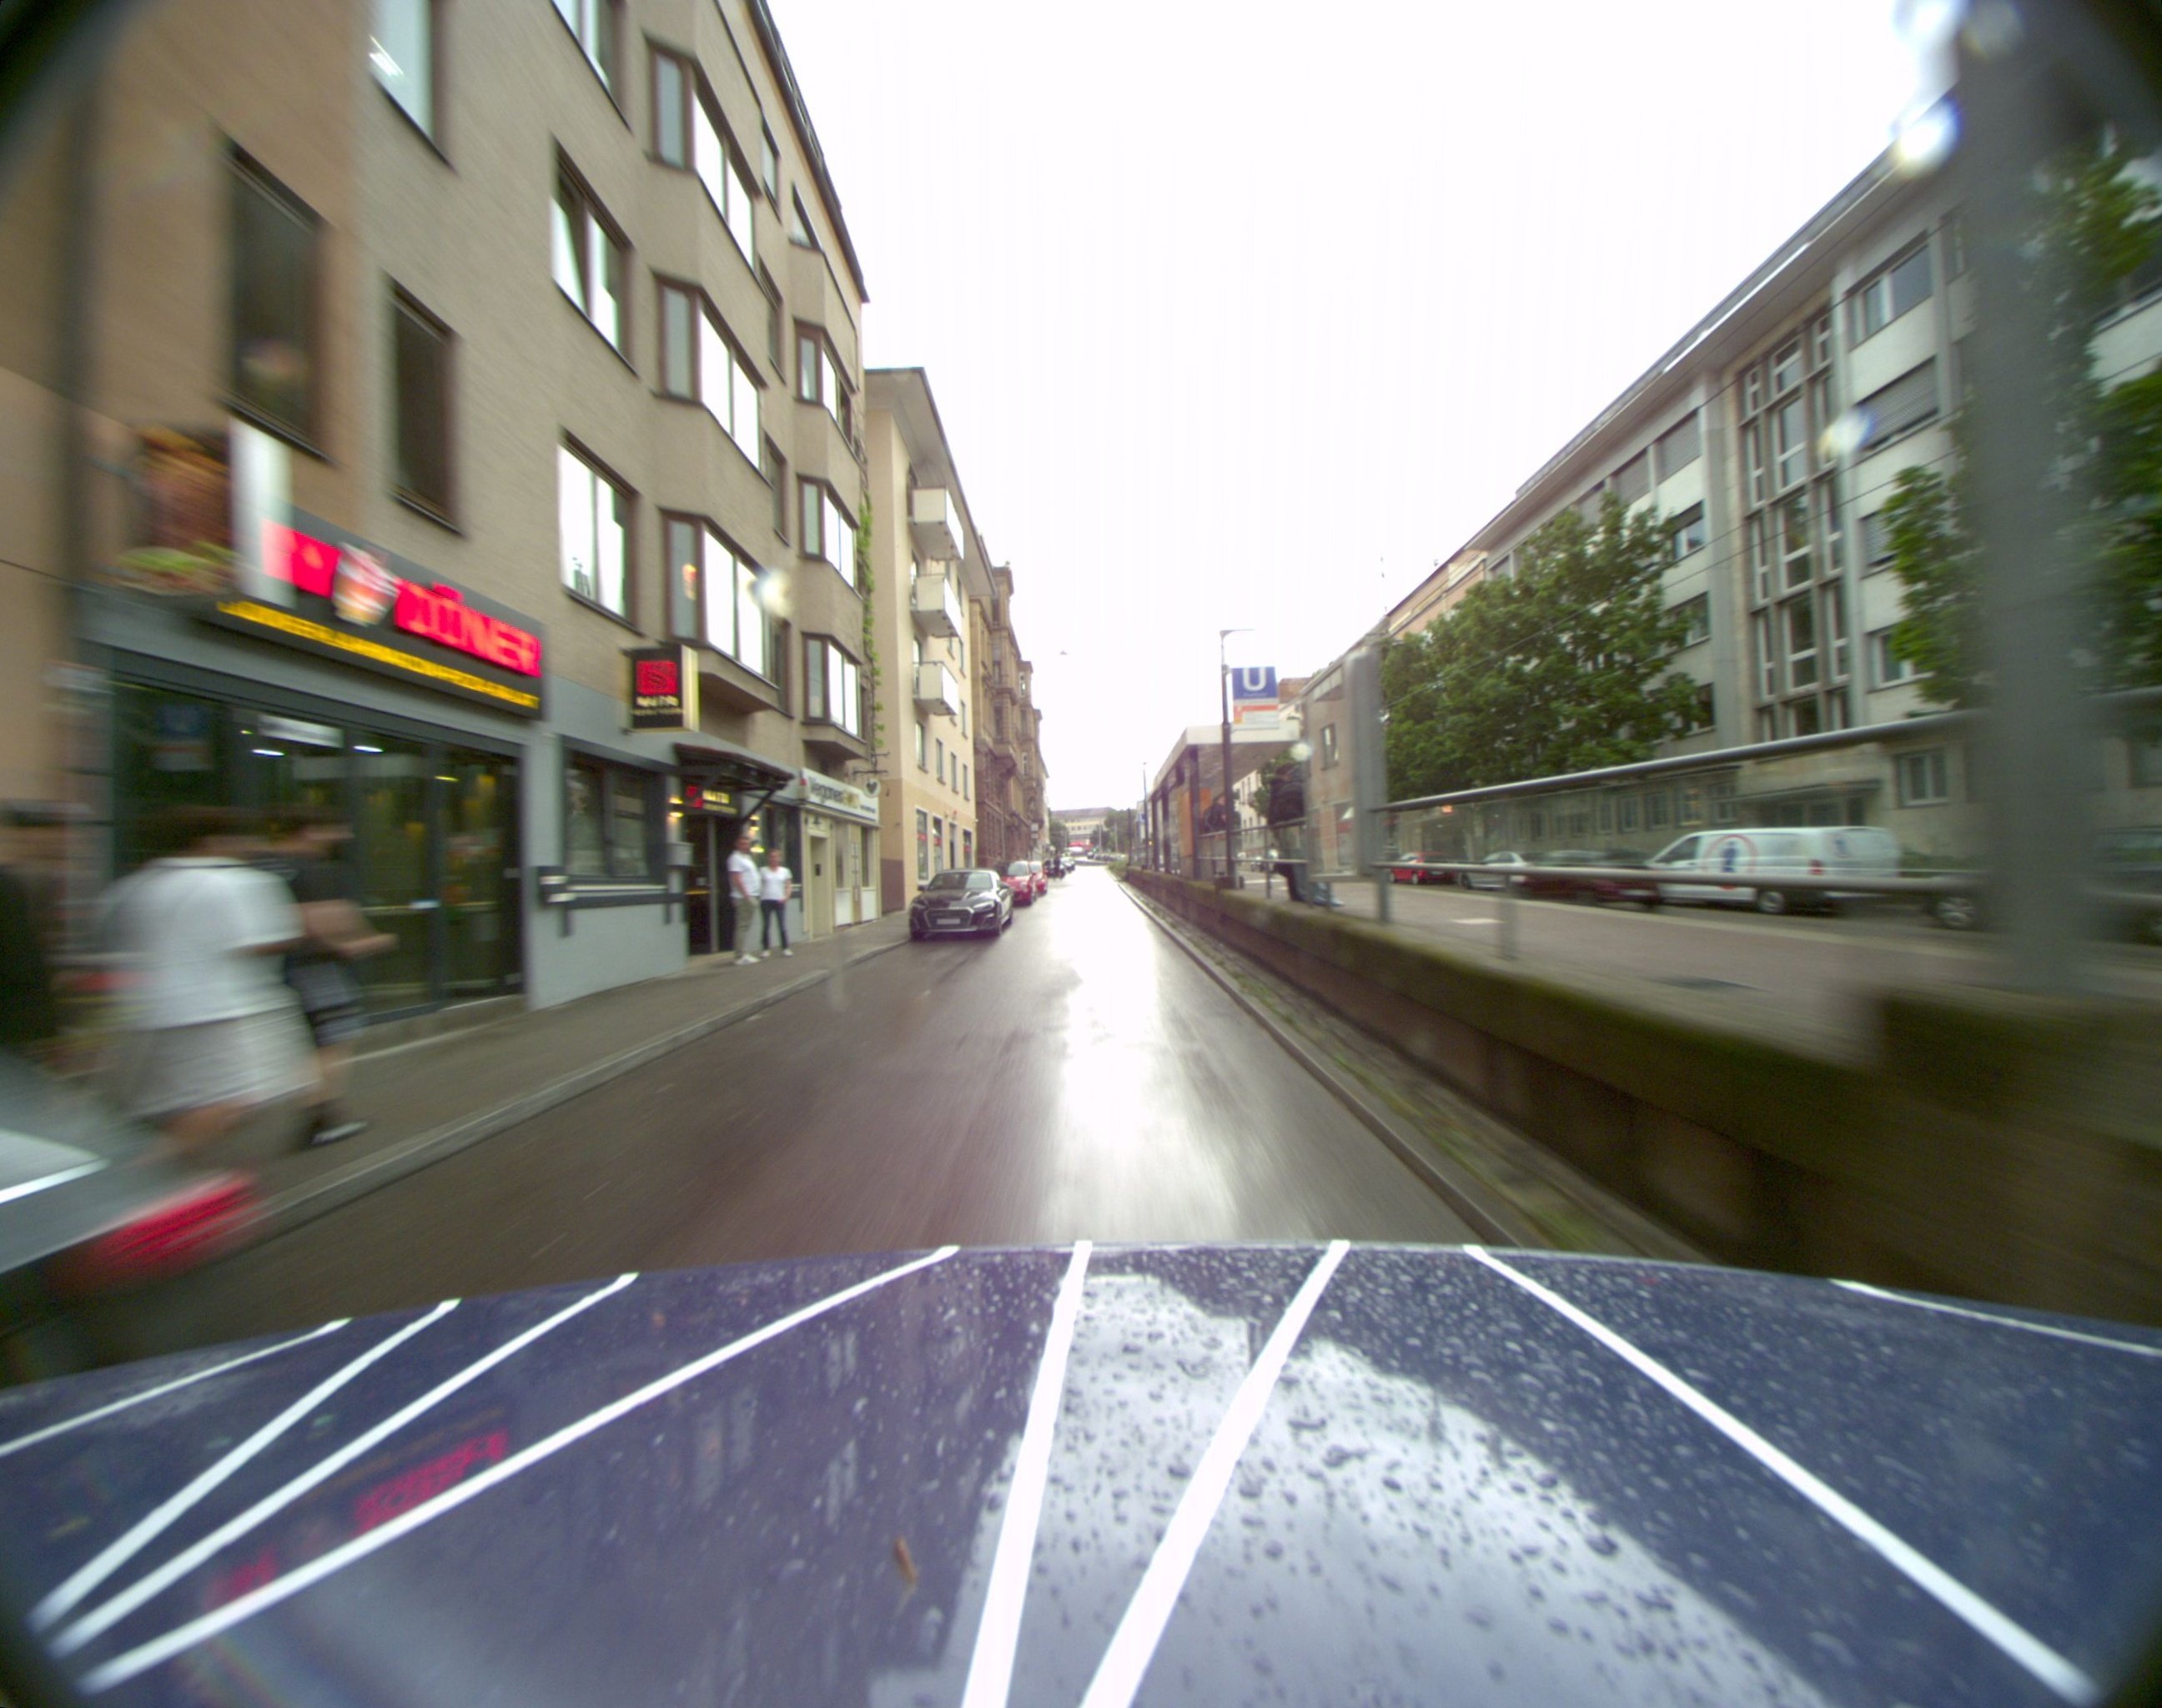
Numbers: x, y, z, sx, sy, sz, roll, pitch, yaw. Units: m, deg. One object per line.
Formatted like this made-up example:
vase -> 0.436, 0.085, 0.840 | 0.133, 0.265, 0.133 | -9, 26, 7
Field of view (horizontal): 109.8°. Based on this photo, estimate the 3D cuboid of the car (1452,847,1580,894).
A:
car -> 14.981, 0.503, 26.495 | 1.696, 1.454, 4.529 | -2, 0, -2

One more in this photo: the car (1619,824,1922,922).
car -> 15.179, 0.349, 17.288 | 1.912, 1.834, 5.255 | -2, 0, -3

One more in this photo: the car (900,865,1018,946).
car -> -2.567, 1.040, 17.029 | 1.911, 1.454, 4.245 | -2, 0, 0

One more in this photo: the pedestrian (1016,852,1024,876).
pedestrian -> -4.289, 0.681, 53.409 | 0.489, 1.635, 0.631 | -1, 1, -3

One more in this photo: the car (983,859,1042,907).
car -> -2.299, 0.955, 26.318 | 1.649, 1.454, 3.414 | -2, 0, 1

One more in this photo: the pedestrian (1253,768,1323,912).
pedestrian -> 2.389, -0.155, 8.813 | 0.585, 1.600, 0.701 | -1, 1, -2

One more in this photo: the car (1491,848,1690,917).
car -> 12.151, 0.598, 18.563 | 1.696, 1.454, 4.529 | -2, 0, -2

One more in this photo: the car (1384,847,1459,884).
car -> 15.339, 0.492, 34.458 | 1.643, 1.530, 3.803 | -2, 0, 0

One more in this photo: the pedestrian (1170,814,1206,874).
pedestrian -> 3.136, -0.297, 22.246 | 0.919, 1.714, 0.701 | -1, 1, -2

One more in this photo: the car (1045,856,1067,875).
car -> -1.927, 0.904, 59.919 | 1.628, 1.343, 3.829 | -2, 0, -1

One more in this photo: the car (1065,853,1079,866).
car -> -1.043, 0.689, 92.234 | 1.588, 1.442, 3.977 | -2, 0, 0

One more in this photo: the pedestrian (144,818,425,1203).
pedestrian -> -4.005, 0.742, 3.872 | 0.757, 1.809, 0.588 | -1, 1, 2

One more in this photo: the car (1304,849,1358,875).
car -> 15.040, 0.464, 46.001 | 1.643, 1.432, 4.729 | -2, 0, 0

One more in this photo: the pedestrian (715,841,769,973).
pedestrian -> -4.877, 0.738, 10.953 | 0.530, 1.848, 0.556 | -1, 1, -7

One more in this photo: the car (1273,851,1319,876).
car -> 12.356, 0.508, 43.905 | 1.642, 1.330, 3.735 | -2, 0, 1

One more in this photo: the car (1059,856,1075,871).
car -> -1.424, 0.935, 77.293 | 1.588, 1.343, 3.977 | -2, 0, -1

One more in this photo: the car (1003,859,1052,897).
car -> -2.232, 0.983, 32.553 | 1.720, 1.454, 3.445 | -2, 0, 1

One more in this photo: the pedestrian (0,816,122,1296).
pedestrian -> -4.152, 0.722, 2.732 | 0.612, 1.704, 0.581 | -1, 1, 2

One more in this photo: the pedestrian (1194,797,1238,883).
pedestrian -> 2.719, -0.273, 15.341 | 0.712, 1.684, 0.701 | -1, 1, -2

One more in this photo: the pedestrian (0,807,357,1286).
pedestrian -> -3.784, 0.747, 3.247 | 0.697, 1.844, 0.652 | -1, 1, 2

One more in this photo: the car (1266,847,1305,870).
car -> 15.366, 0.316, 57.337 | 1.662, 1.575, 4.337 | -2, 0, -1

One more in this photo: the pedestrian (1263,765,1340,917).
pedestrian -> 2.331, -0.134, 8.104 | 0.585, 1.548, 0.701 | -1, 1, -2

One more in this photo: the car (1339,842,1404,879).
car -> 15.273, 0.328, 40.189 | 1.678, 1.806, 4.431 | -2, 0, 0

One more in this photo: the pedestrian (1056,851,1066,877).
pedestrian -> -1.392, 0.691, 52.913 | 0.653, 1.752, 0.882 | -1, 1, -3

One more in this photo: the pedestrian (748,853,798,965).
pedestrian -> -4.754, 0.831, 11.769 | 0.546, 1.671, 0.595 | -1, 1, -7

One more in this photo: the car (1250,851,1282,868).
car -> 15.372, 0.433, 63.279 | 1.718, 1.367, 4.457 | -2, 0, 2

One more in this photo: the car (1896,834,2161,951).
car -> 15.121, 0.493, 11.171 | 1.642, 1.527, 4.371 | -2, 0, 1
